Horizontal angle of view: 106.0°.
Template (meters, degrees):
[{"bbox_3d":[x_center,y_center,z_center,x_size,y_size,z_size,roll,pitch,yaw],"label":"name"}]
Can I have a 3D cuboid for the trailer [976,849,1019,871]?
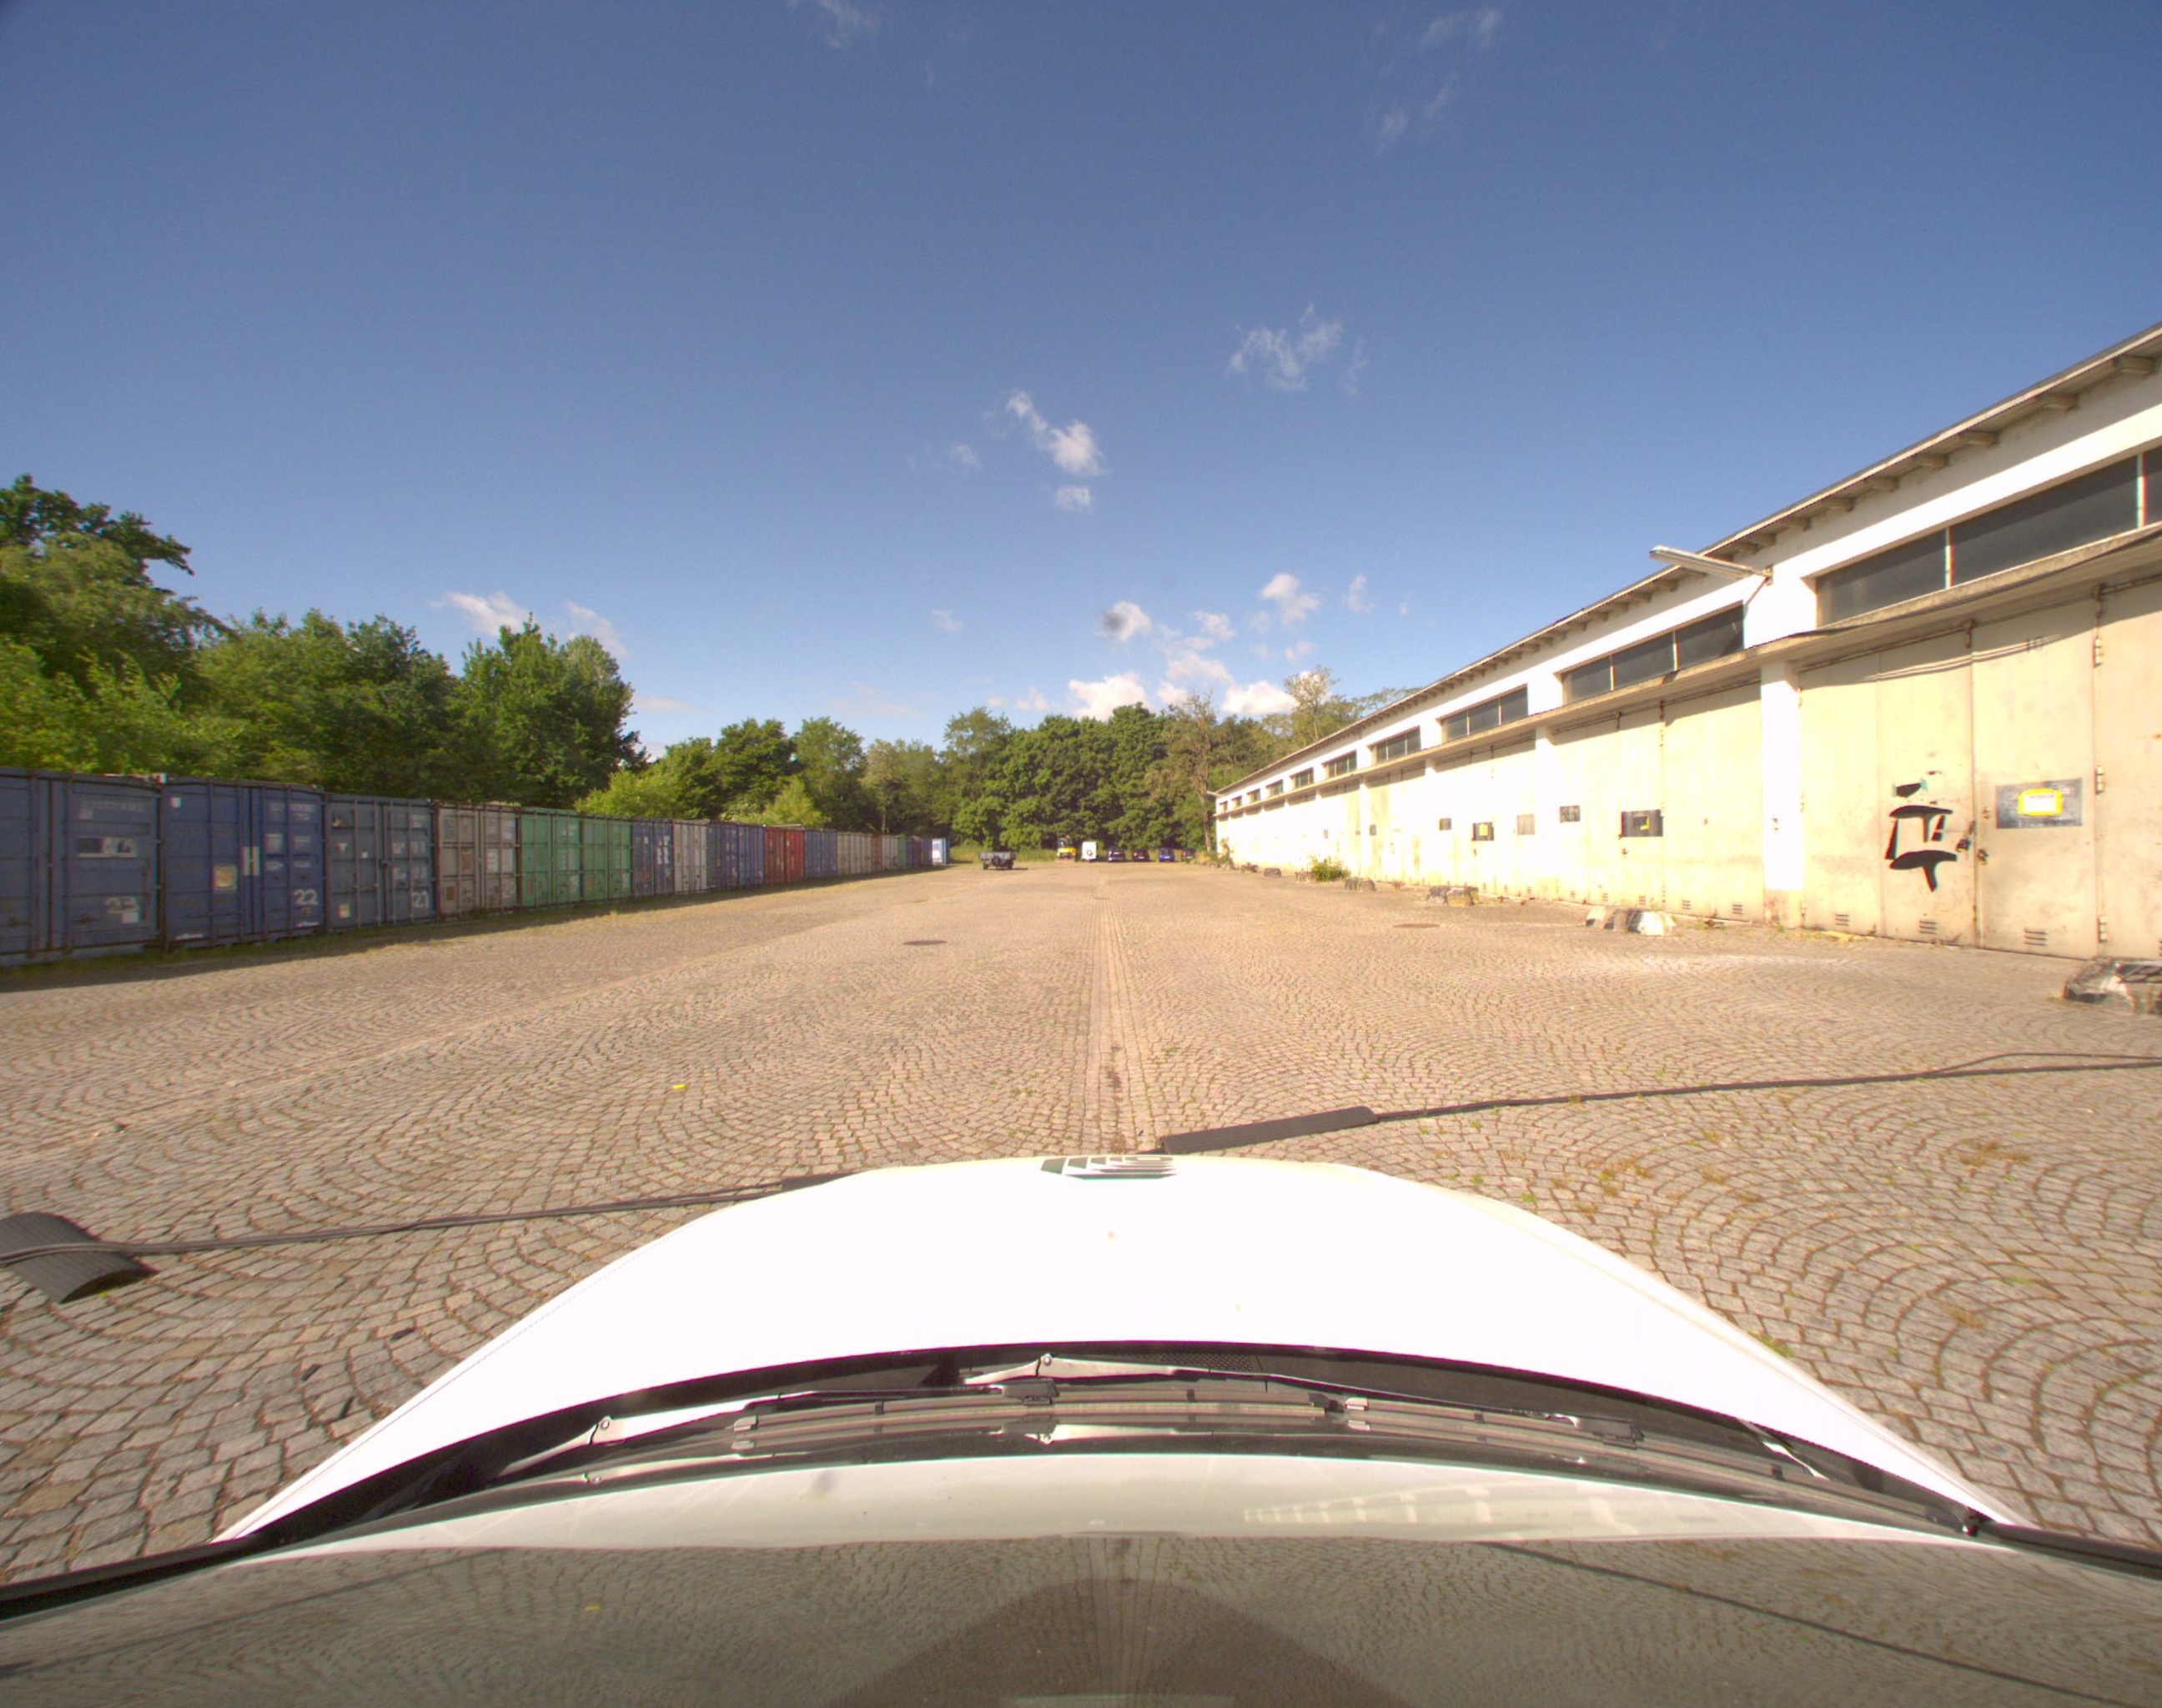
[{"bbox_3d":[-6.660,0.429,65.538,2.782,1.646,5.620,-1,0,0],"label":"trailer"}]

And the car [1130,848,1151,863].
[{"bbox_3d":[6.043,0.108,83.111,1.986,1.424,4.001,-1,0,1],"label":"car"}]

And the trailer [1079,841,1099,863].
[{"bbox_3d":[0.874,-0.244,84.023,1.987,2.162,4.432,-1,0,1],"label":"trailer"}]

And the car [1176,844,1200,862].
[{"bbox_3d":[11.004,-0.155,84.296,1.986,1.772,4.001,-1,0,1],"label":"car"}]

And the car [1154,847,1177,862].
[{"bbox_3d":[8.624,0.018,83.075,1.986,1.466,4.001,-1,0,1],"label":"car"}]

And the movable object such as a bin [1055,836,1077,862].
[{"bbox_3d":[-1.571,-0.527,84.804,2.225,2.657,3.998,-1,0,-1],"label":"movable object such as a bin"}]

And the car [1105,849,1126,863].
[{"bbox_3d":[3.516,0.185,82.762,1.986,1.258,4.001,-1,0,1],"label":"car"}]
